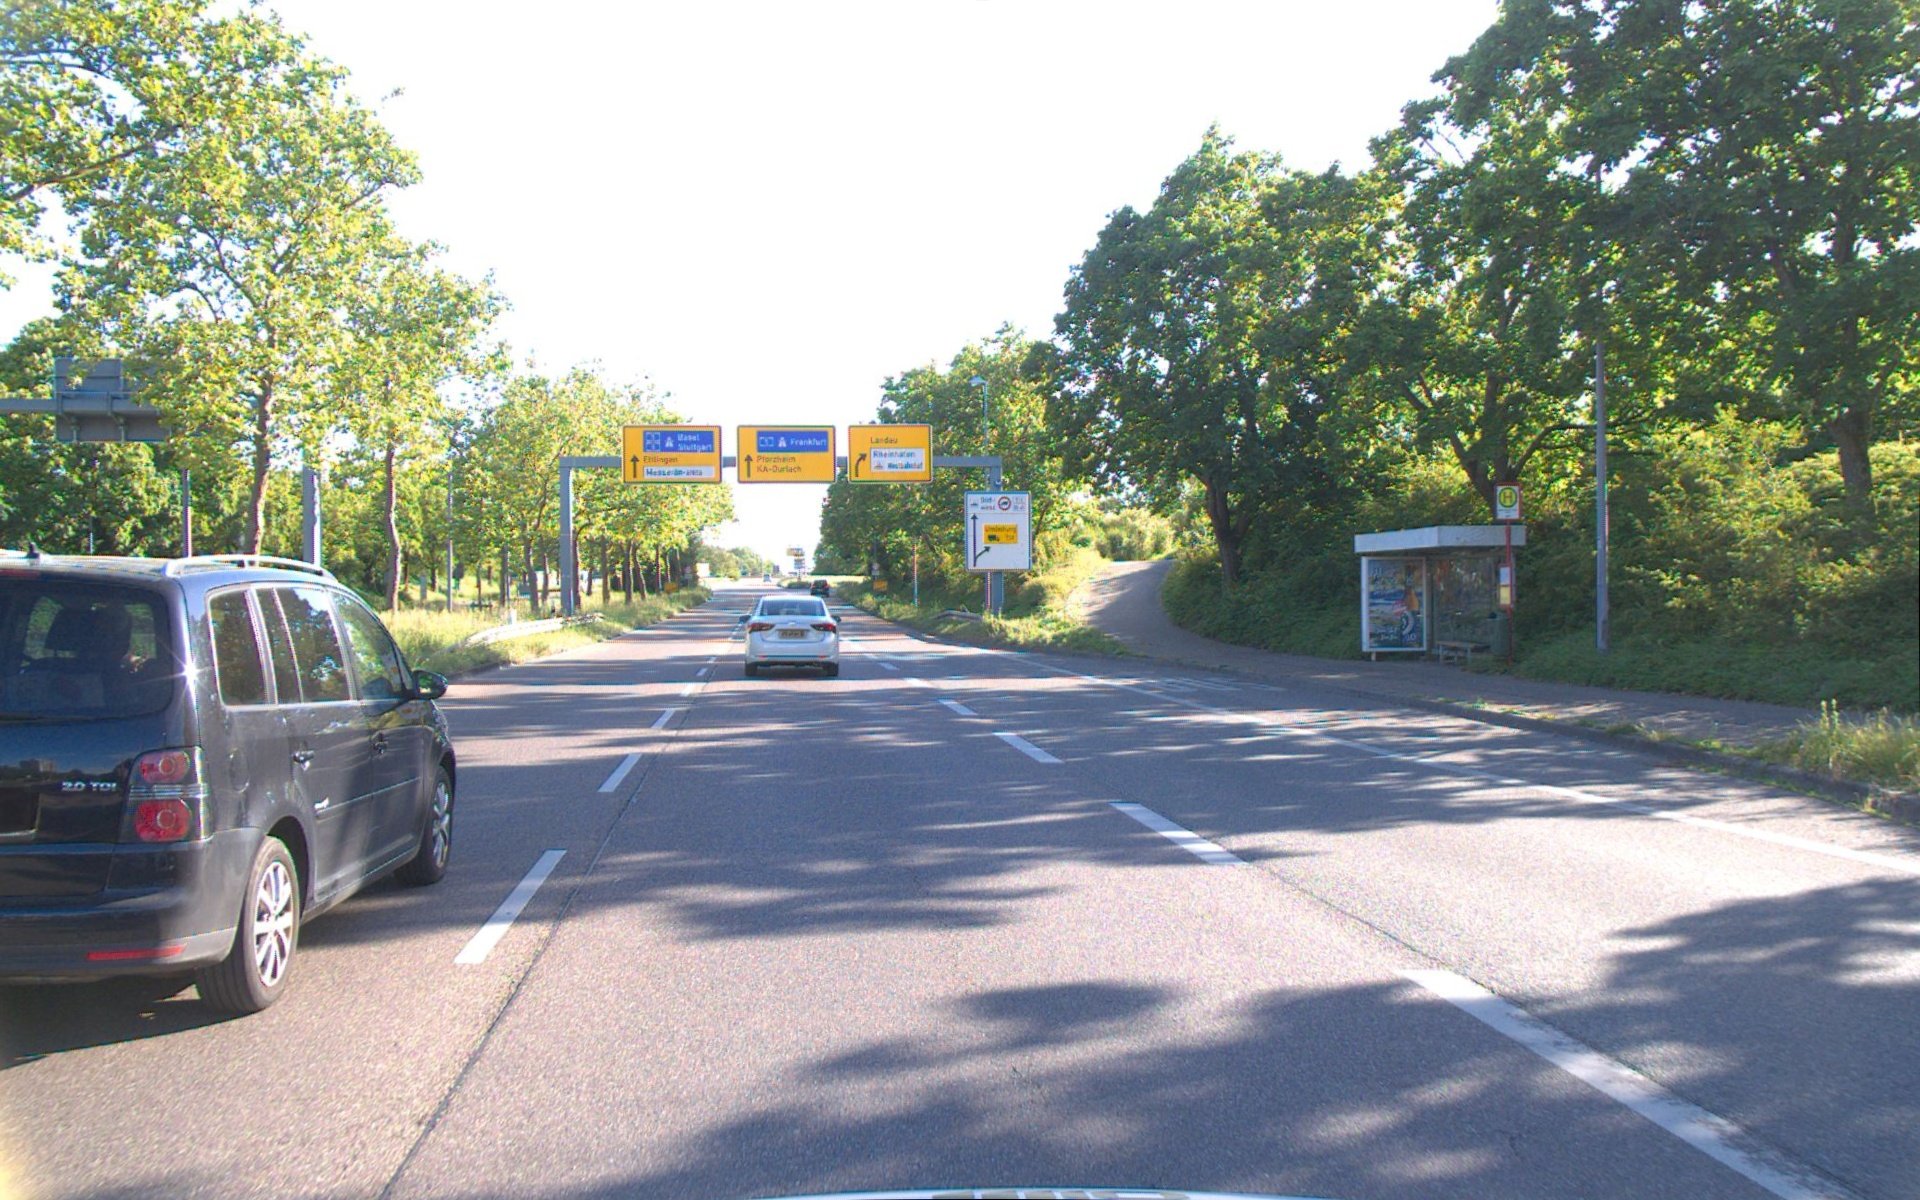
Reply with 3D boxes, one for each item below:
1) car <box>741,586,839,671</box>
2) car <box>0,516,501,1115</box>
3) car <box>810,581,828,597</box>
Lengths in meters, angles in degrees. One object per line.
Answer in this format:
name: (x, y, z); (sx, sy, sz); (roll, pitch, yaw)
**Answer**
car: (-3.219, 0.493, 31.926); (1.733, 1.489, 4.363); (-1, 1, -4)
car: (-3.351, 0.578, 7.032); (1.733, 1.672, 4.919); (1, 0, -4)
car: (-13.661, -1.096, 160.483); (1.733, 1.489, 4.362); (-1, 1, -5)
